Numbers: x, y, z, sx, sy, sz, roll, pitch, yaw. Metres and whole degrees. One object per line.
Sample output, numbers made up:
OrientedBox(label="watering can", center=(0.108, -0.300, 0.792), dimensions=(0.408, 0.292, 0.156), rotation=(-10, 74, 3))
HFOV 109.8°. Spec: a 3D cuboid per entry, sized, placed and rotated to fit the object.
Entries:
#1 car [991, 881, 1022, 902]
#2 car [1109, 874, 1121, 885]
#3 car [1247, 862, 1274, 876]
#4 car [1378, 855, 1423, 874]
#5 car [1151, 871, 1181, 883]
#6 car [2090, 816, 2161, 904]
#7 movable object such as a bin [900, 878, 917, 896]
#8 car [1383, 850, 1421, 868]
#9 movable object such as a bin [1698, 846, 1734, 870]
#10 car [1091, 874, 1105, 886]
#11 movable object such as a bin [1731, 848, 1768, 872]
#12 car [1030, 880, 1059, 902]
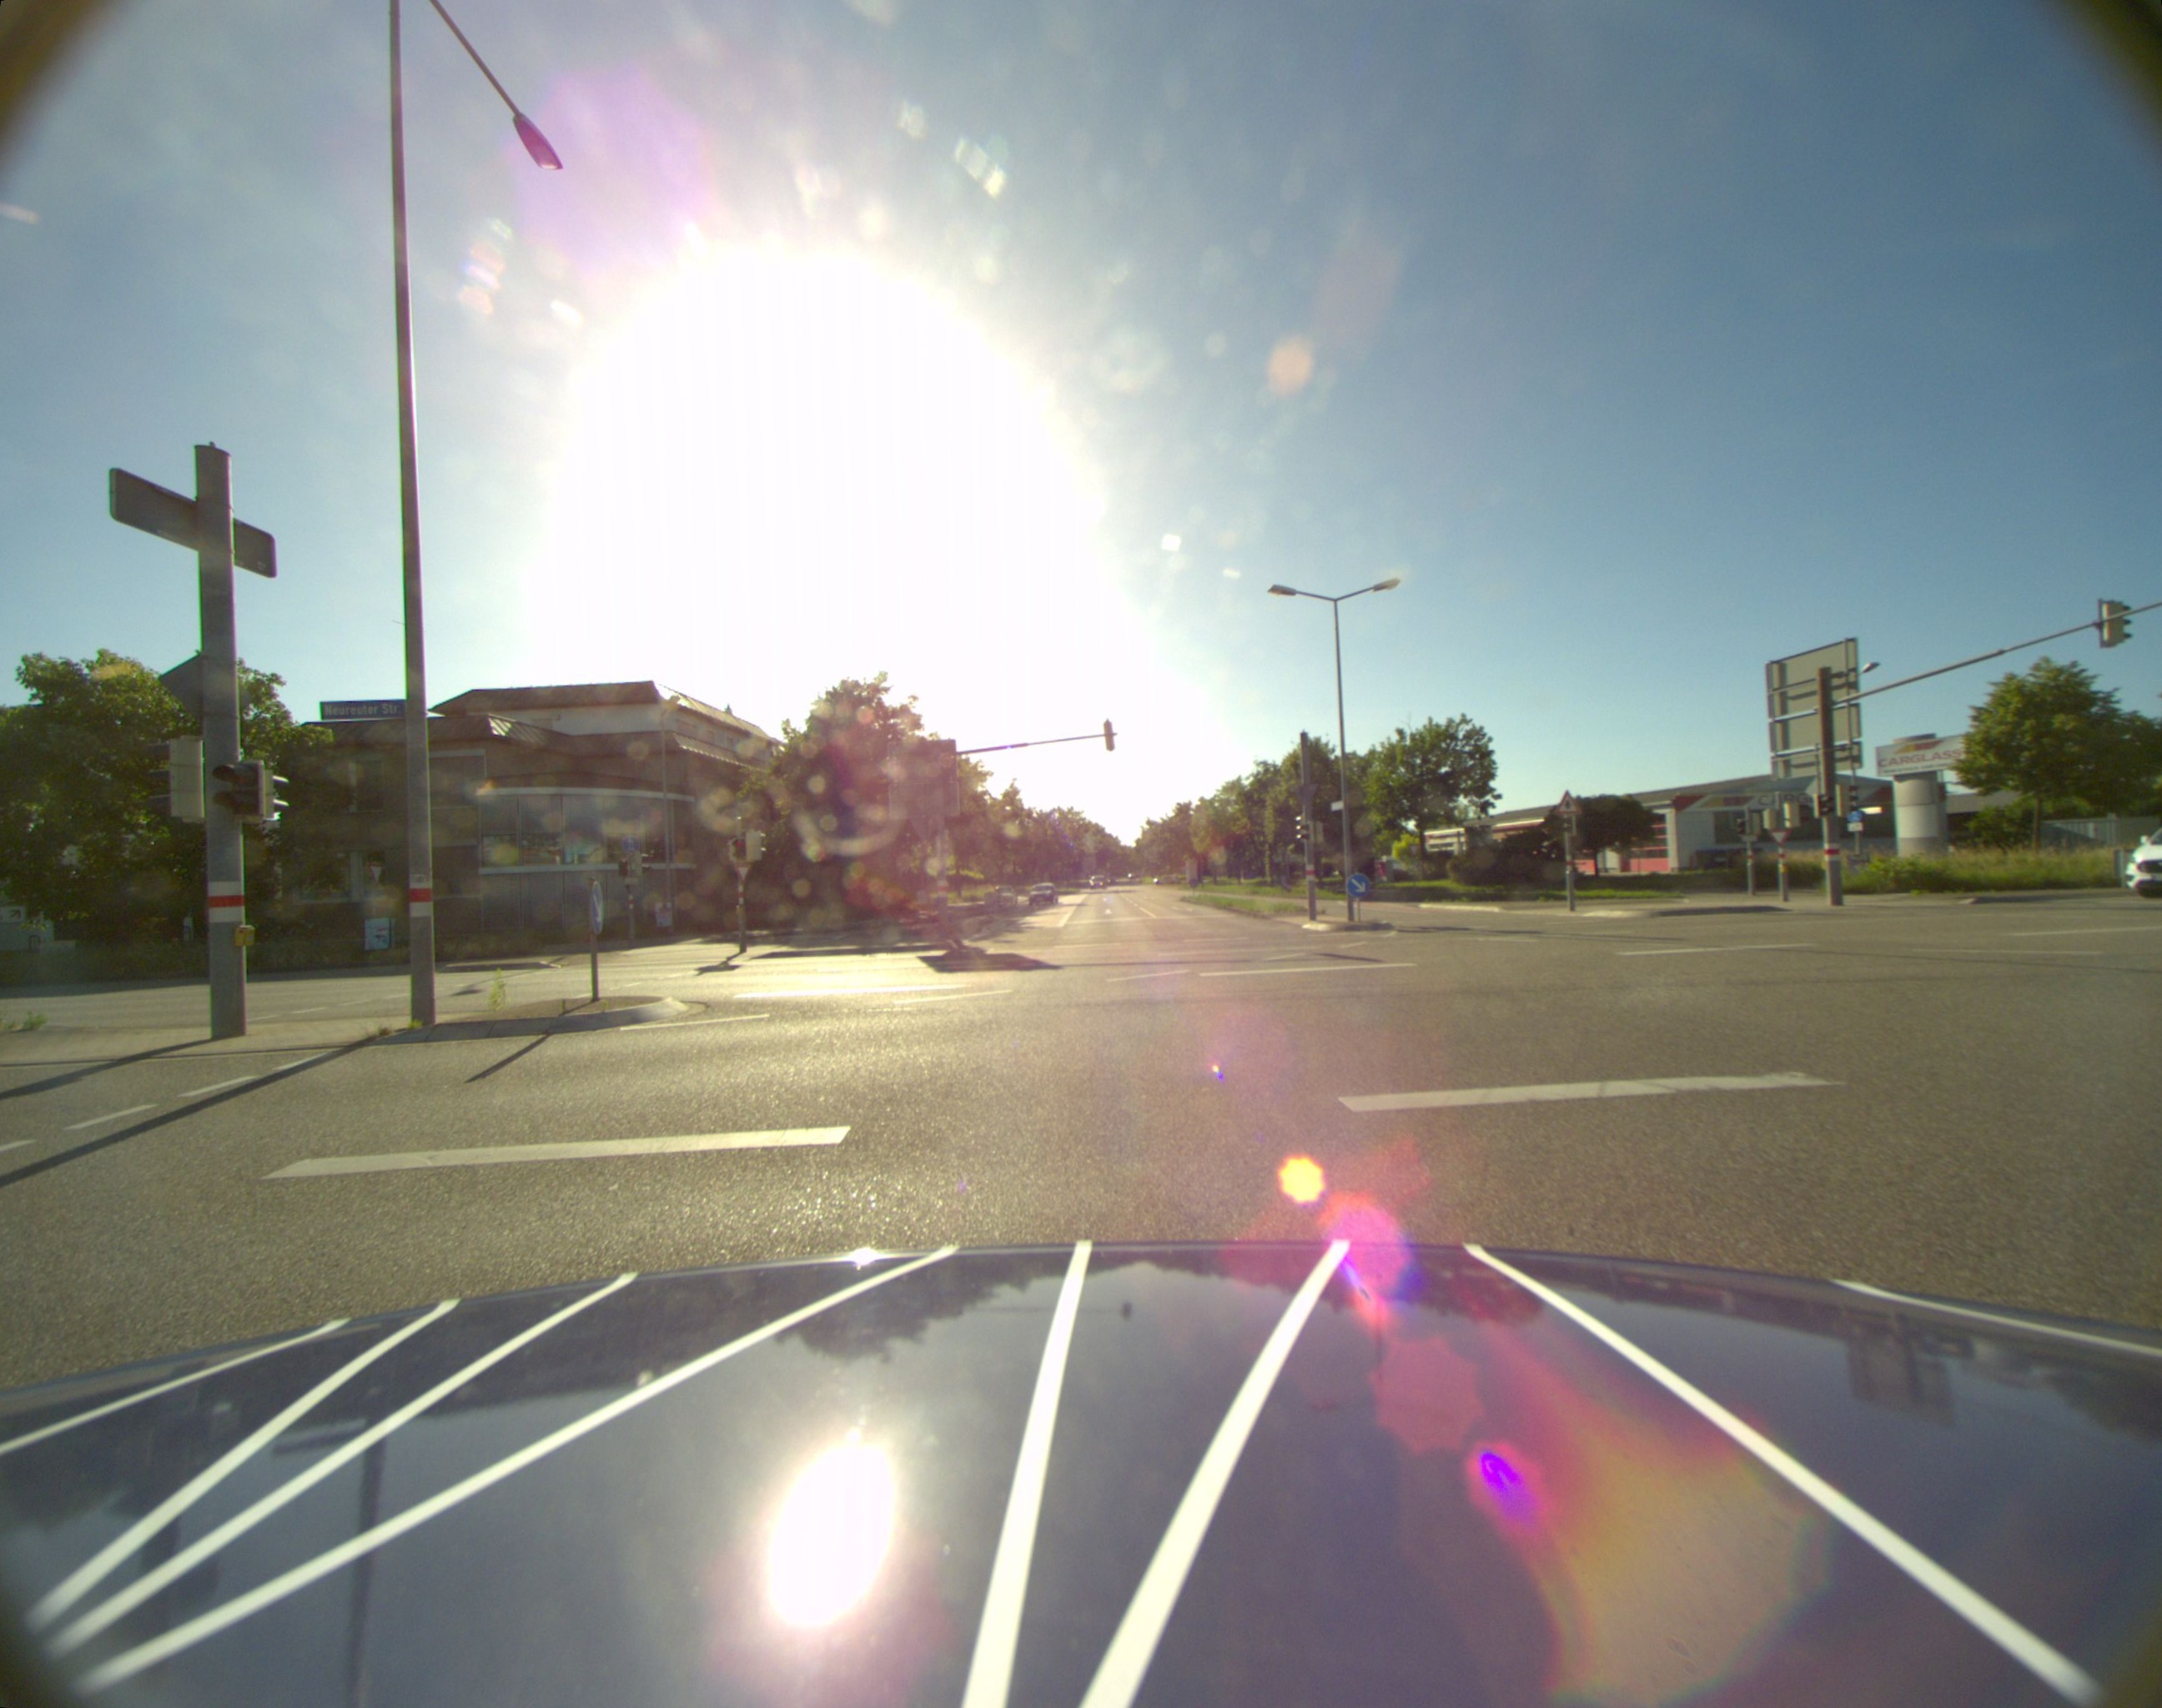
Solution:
OrientedBox(label="car", center=(-5.691, 2.846, 58.774), dimensions=(1.776, 1.477, 4.216), rotation=(-1, -1, 2))
OrientedBox(label="car", center=(6.322, 4.718, 141.309), dimensions=(1.730, 2.002, 3.999), rotation=(-2, 0, -2))
OrientedBox(label="car", center=(28.104, 2.342, 119.058), dimensions=(3.994, 2.001, 2.002), rotation=(-4, -1, 10))
OrientedBox(label="car", center=(38.663, 1.249, 91.955), dimensions=(4.488, 1.934, 1.999), rotation=(-4, -1, 6))
OrientedBox(label="car", center=(13.146, 3.586, 116.979), dimensions=(4.489, 1.695, 2.001), rotation=(-2, -1, 7))
OrientedBox(label="car", center=(27.140, 0.049, 17.508), dimensions=(5.273, 2.001, 2.048), rotation=(-2, -3, -4))
OrientedBox(label="movable object such as a bin", center=(-13.548, 2.574, 59.787), dimensions=(1.089, 1.314, 0.796), rotation=(-3, -1, 2))
OrientedBox(label="car", center=(41.968, 0.692, 99.432), dimensions=(4.212, 2.203, 1.778), rotation=(-2, -1, -1))
OrientedBox(label="movable object such as a bin", center=(35.423, 0.219, 42.397), dimensions=(1.130, 1.290, 0.993), rotation=(-2, -1, 2))
OrientedBox(label="car", center=(2.276, 3.376, 99.313), dimensions=(1.776, 1.477, 4.216), rotation=(-1, -1, 2))
OrientedBox(label="movable object such as a bin", center=(37.239, 0.324, 42.342), dimensions=(1.130, 1.290, 0.993), rotation=(-2, -1, 2))
OrientedBox(label="car", center=(-2.644, 2.652, 55.694), dimensions=(1.776, 1.477, 3.781), rotation=(-1, -1, 2))
